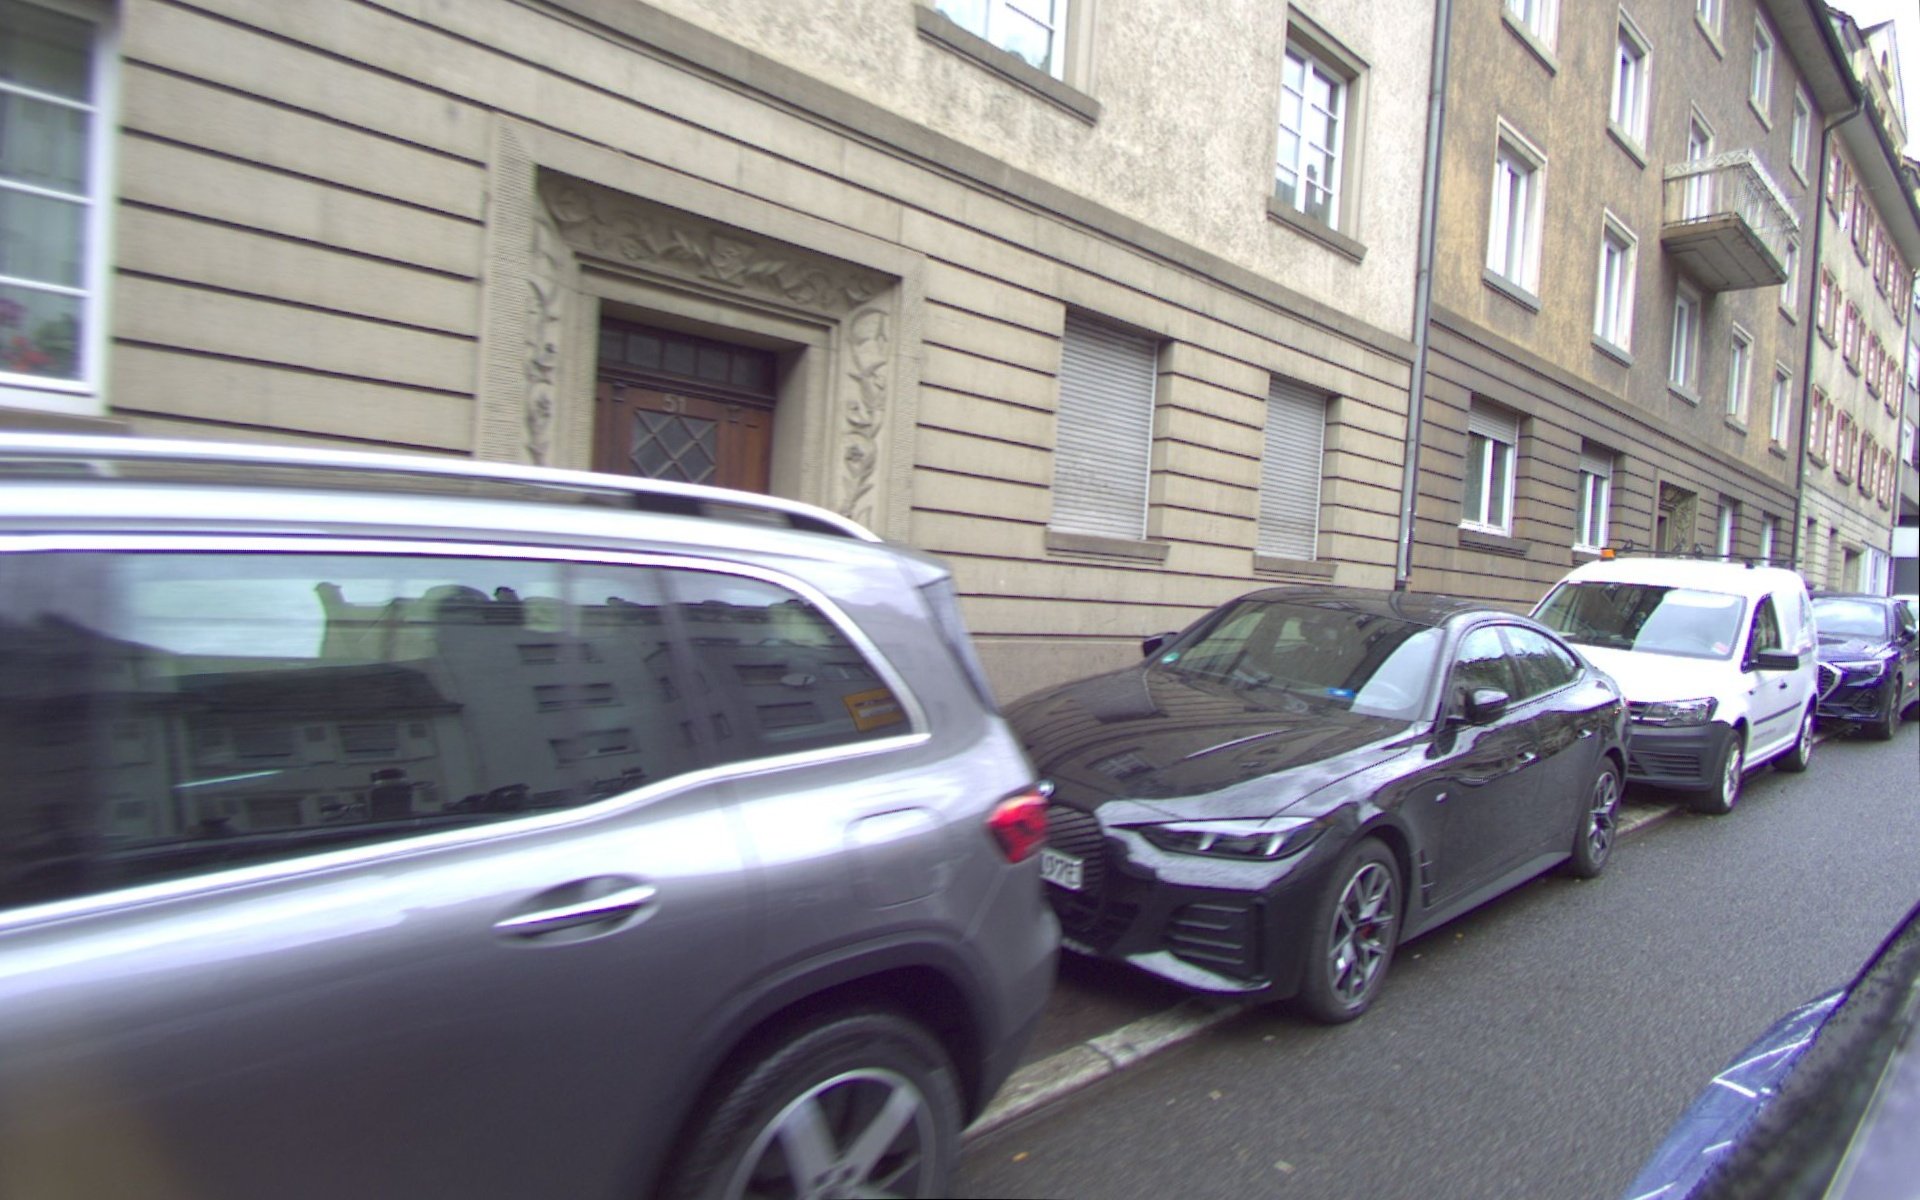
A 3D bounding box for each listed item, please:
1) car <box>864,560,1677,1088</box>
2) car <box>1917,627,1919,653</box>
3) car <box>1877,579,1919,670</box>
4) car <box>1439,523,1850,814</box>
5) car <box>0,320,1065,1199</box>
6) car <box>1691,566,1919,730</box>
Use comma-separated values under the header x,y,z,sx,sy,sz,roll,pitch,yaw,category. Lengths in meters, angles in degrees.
x,y,z,sx,sy,sz,roll,pitch,yaw,category
1.830,0.606,5.030,4.312,1.426,1.845,-1,5,-42,car
23.759,0.523,23.664,3.671,1.496,1.636,-1,6,-42,car
19.599,0.479,20.045,4.124,1.657,1.635,-1,6,-42,car
5.867,0.387,8.499,4.009,1.839,1.795,0,4,-41,car
-1.946,0.466,1.501,4.136,1.640,1.844,-1,5,-42,car
10.598,0.462,12.263,4.151,1.566,1.795,0,4,-40,car
